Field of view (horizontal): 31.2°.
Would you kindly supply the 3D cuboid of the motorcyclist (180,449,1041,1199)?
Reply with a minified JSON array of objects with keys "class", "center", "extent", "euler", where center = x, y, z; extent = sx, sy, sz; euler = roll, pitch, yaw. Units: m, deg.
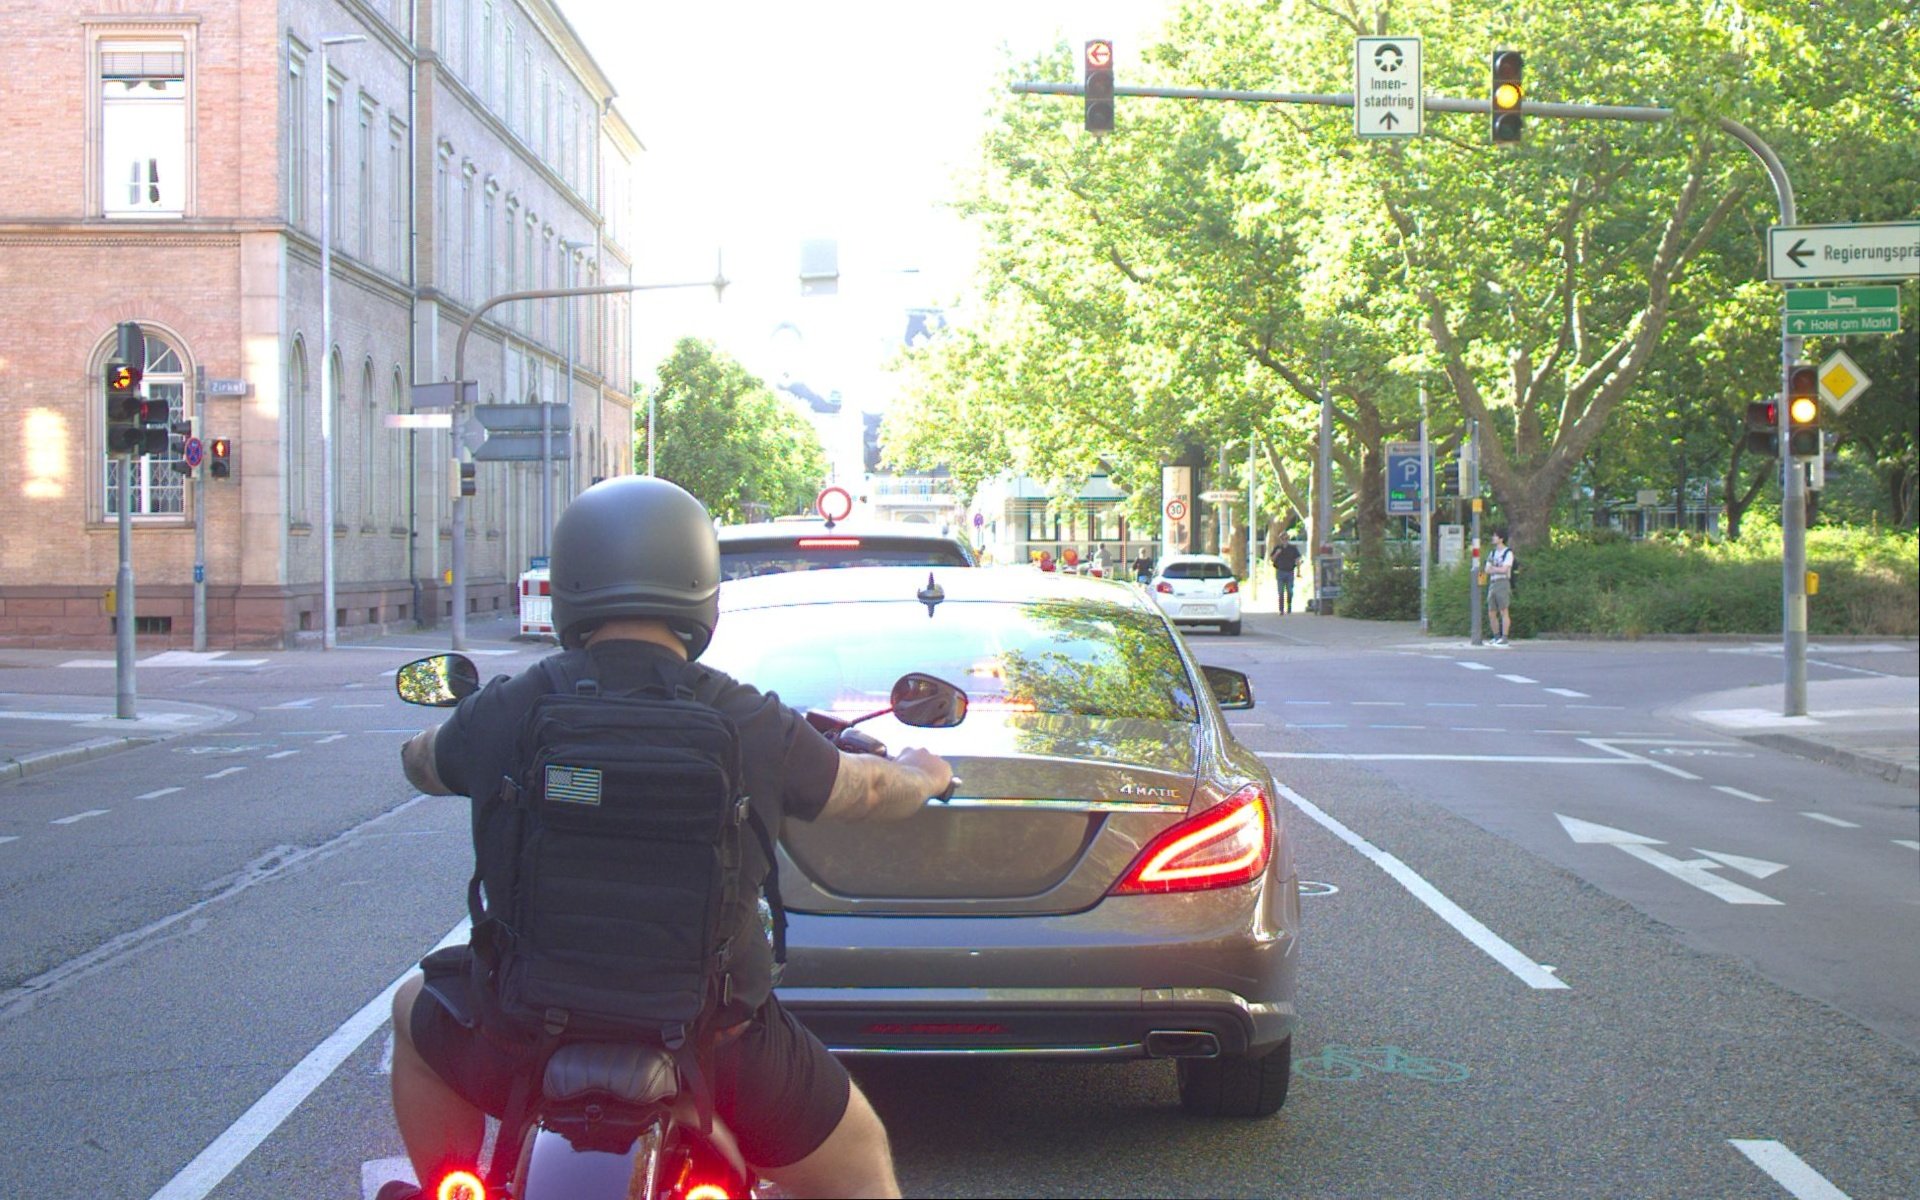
[{"class":"motorcyclist","center":[-0.483,0.595,5.289],"extent":[1.149,1.593,1.288],"euler":[1,0,-1]}]

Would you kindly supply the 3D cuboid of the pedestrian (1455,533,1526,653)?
[{"class":"pedestrian","center":[8.217,-0.116,53.289],"extent":[1.002,1.820,1.076],"euler":[1,0,6]}]

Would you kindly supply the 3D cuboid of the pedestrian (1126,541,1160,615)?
[{"class":"pedestrian","center":[4.956,-0.598,93.176],"extent":[0.814,2.007,1.271],"euler":[1,0,-1]}]

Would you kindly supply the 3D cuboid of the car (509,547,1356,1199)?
[{"class":"car","center":[-0.083,0.594,9.634],"extent":[1.882,1.444,3.820],"euler":[1,1,-1]}]

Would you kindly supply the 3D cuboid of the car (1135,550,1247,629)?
[{"class":"car","center":[4.282,-0.217,64.172],"extent":[1.776,1.423,3.802],"euler":[0,1,-1]}]

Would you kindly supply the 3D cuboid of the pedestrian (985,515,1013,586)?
[{"class":"pedestrian","center":[1.137,-1.450,100.828],"extent":[0.764,2.044,0.712],"euler":[1,0,-1]}]

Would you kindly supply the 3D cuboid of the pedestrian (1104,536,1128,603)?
[{"class":"pedestrian","center":[4.703,-0.936,103.866],"extent":[0.656,2.007,0.933],"euler":[1,0,-1]}]

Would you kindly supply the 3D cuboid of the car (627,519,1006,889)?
[{"class":"car","center":[-0.637,0.410,16.749],"extent":[1.621,1.588,4.000],"euler":[0,1,-1]}]

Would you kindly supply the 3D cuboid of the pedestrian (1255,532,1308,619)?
[{"class":"pedestrian","center":[7.090,-0.550,75.830],"extent":[0.749,1.903,0.926],"euler":[1,0,-28]}]

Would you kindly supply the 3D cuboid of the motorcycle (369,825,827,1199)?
[{"class":"motorcycle","center":[-0.496,0.926,5.307],"extent":[0.513,0.999,2.013],"euler":[1,1,-1]}]
